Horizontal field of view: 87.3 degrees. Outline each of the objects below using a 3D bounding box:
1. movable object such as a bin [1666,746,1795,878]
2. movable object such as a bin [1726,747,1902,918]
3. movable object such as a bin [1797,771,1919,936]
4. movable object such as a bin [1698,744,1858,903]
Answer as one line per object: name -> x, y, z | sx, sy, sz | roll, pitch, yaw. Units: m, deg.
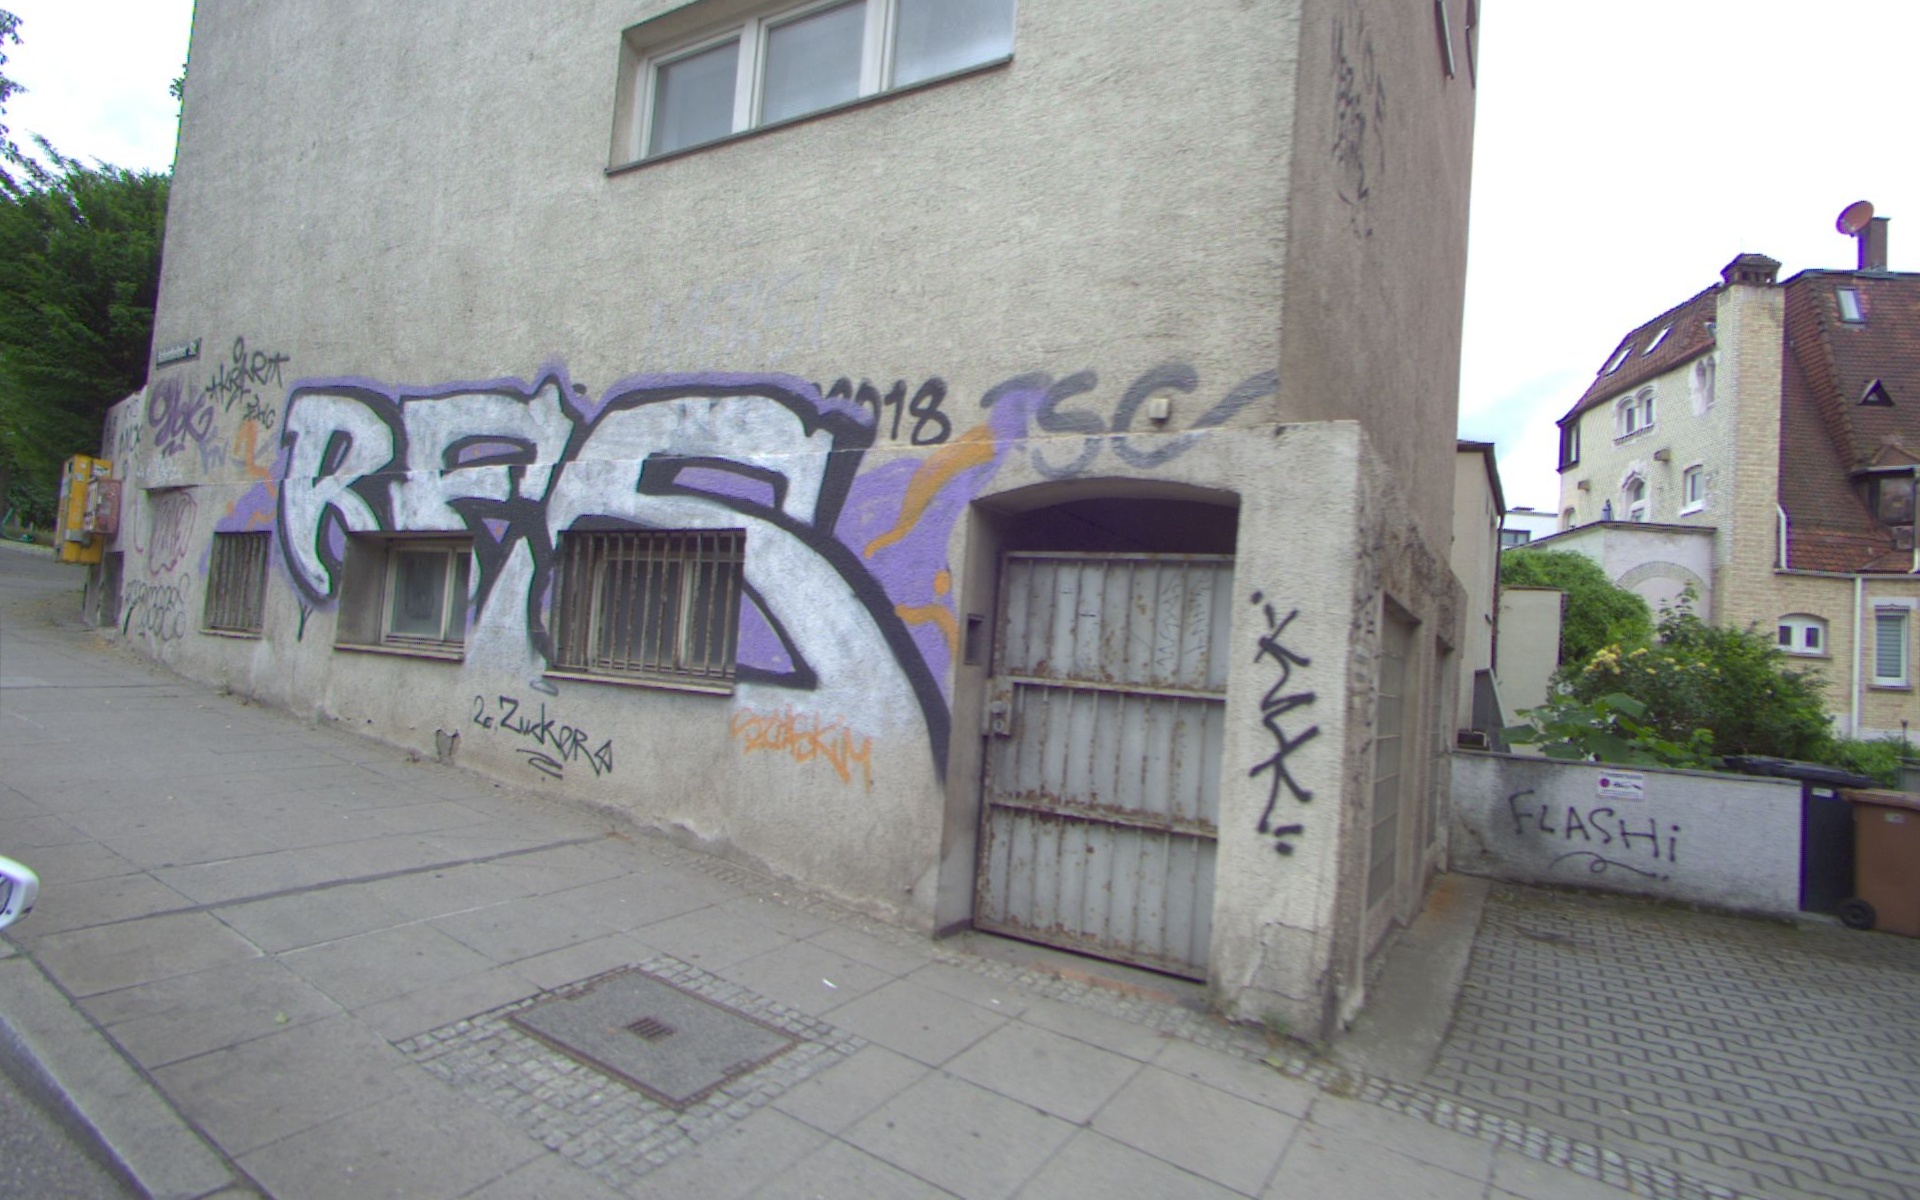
movable object such as a bin -> 7.262, 1.976, 9.515 | 0.817, 1.034, 0.500 | 7, 0, 32
movable object such as a bin -> 6.268, 1.678, 7.426 | 0.817, 1.034, 0.500 | 7, 0, 32
movable object such as a bin -> 6.170, 1.695, 6.779 | 0.657, 0.933, 0.500 | 7, 0, 32
movable object such as a bin -> 6.440, 1.734, 7.963 | 0.817, 1.034, 0.500 | 7, 0, 32
